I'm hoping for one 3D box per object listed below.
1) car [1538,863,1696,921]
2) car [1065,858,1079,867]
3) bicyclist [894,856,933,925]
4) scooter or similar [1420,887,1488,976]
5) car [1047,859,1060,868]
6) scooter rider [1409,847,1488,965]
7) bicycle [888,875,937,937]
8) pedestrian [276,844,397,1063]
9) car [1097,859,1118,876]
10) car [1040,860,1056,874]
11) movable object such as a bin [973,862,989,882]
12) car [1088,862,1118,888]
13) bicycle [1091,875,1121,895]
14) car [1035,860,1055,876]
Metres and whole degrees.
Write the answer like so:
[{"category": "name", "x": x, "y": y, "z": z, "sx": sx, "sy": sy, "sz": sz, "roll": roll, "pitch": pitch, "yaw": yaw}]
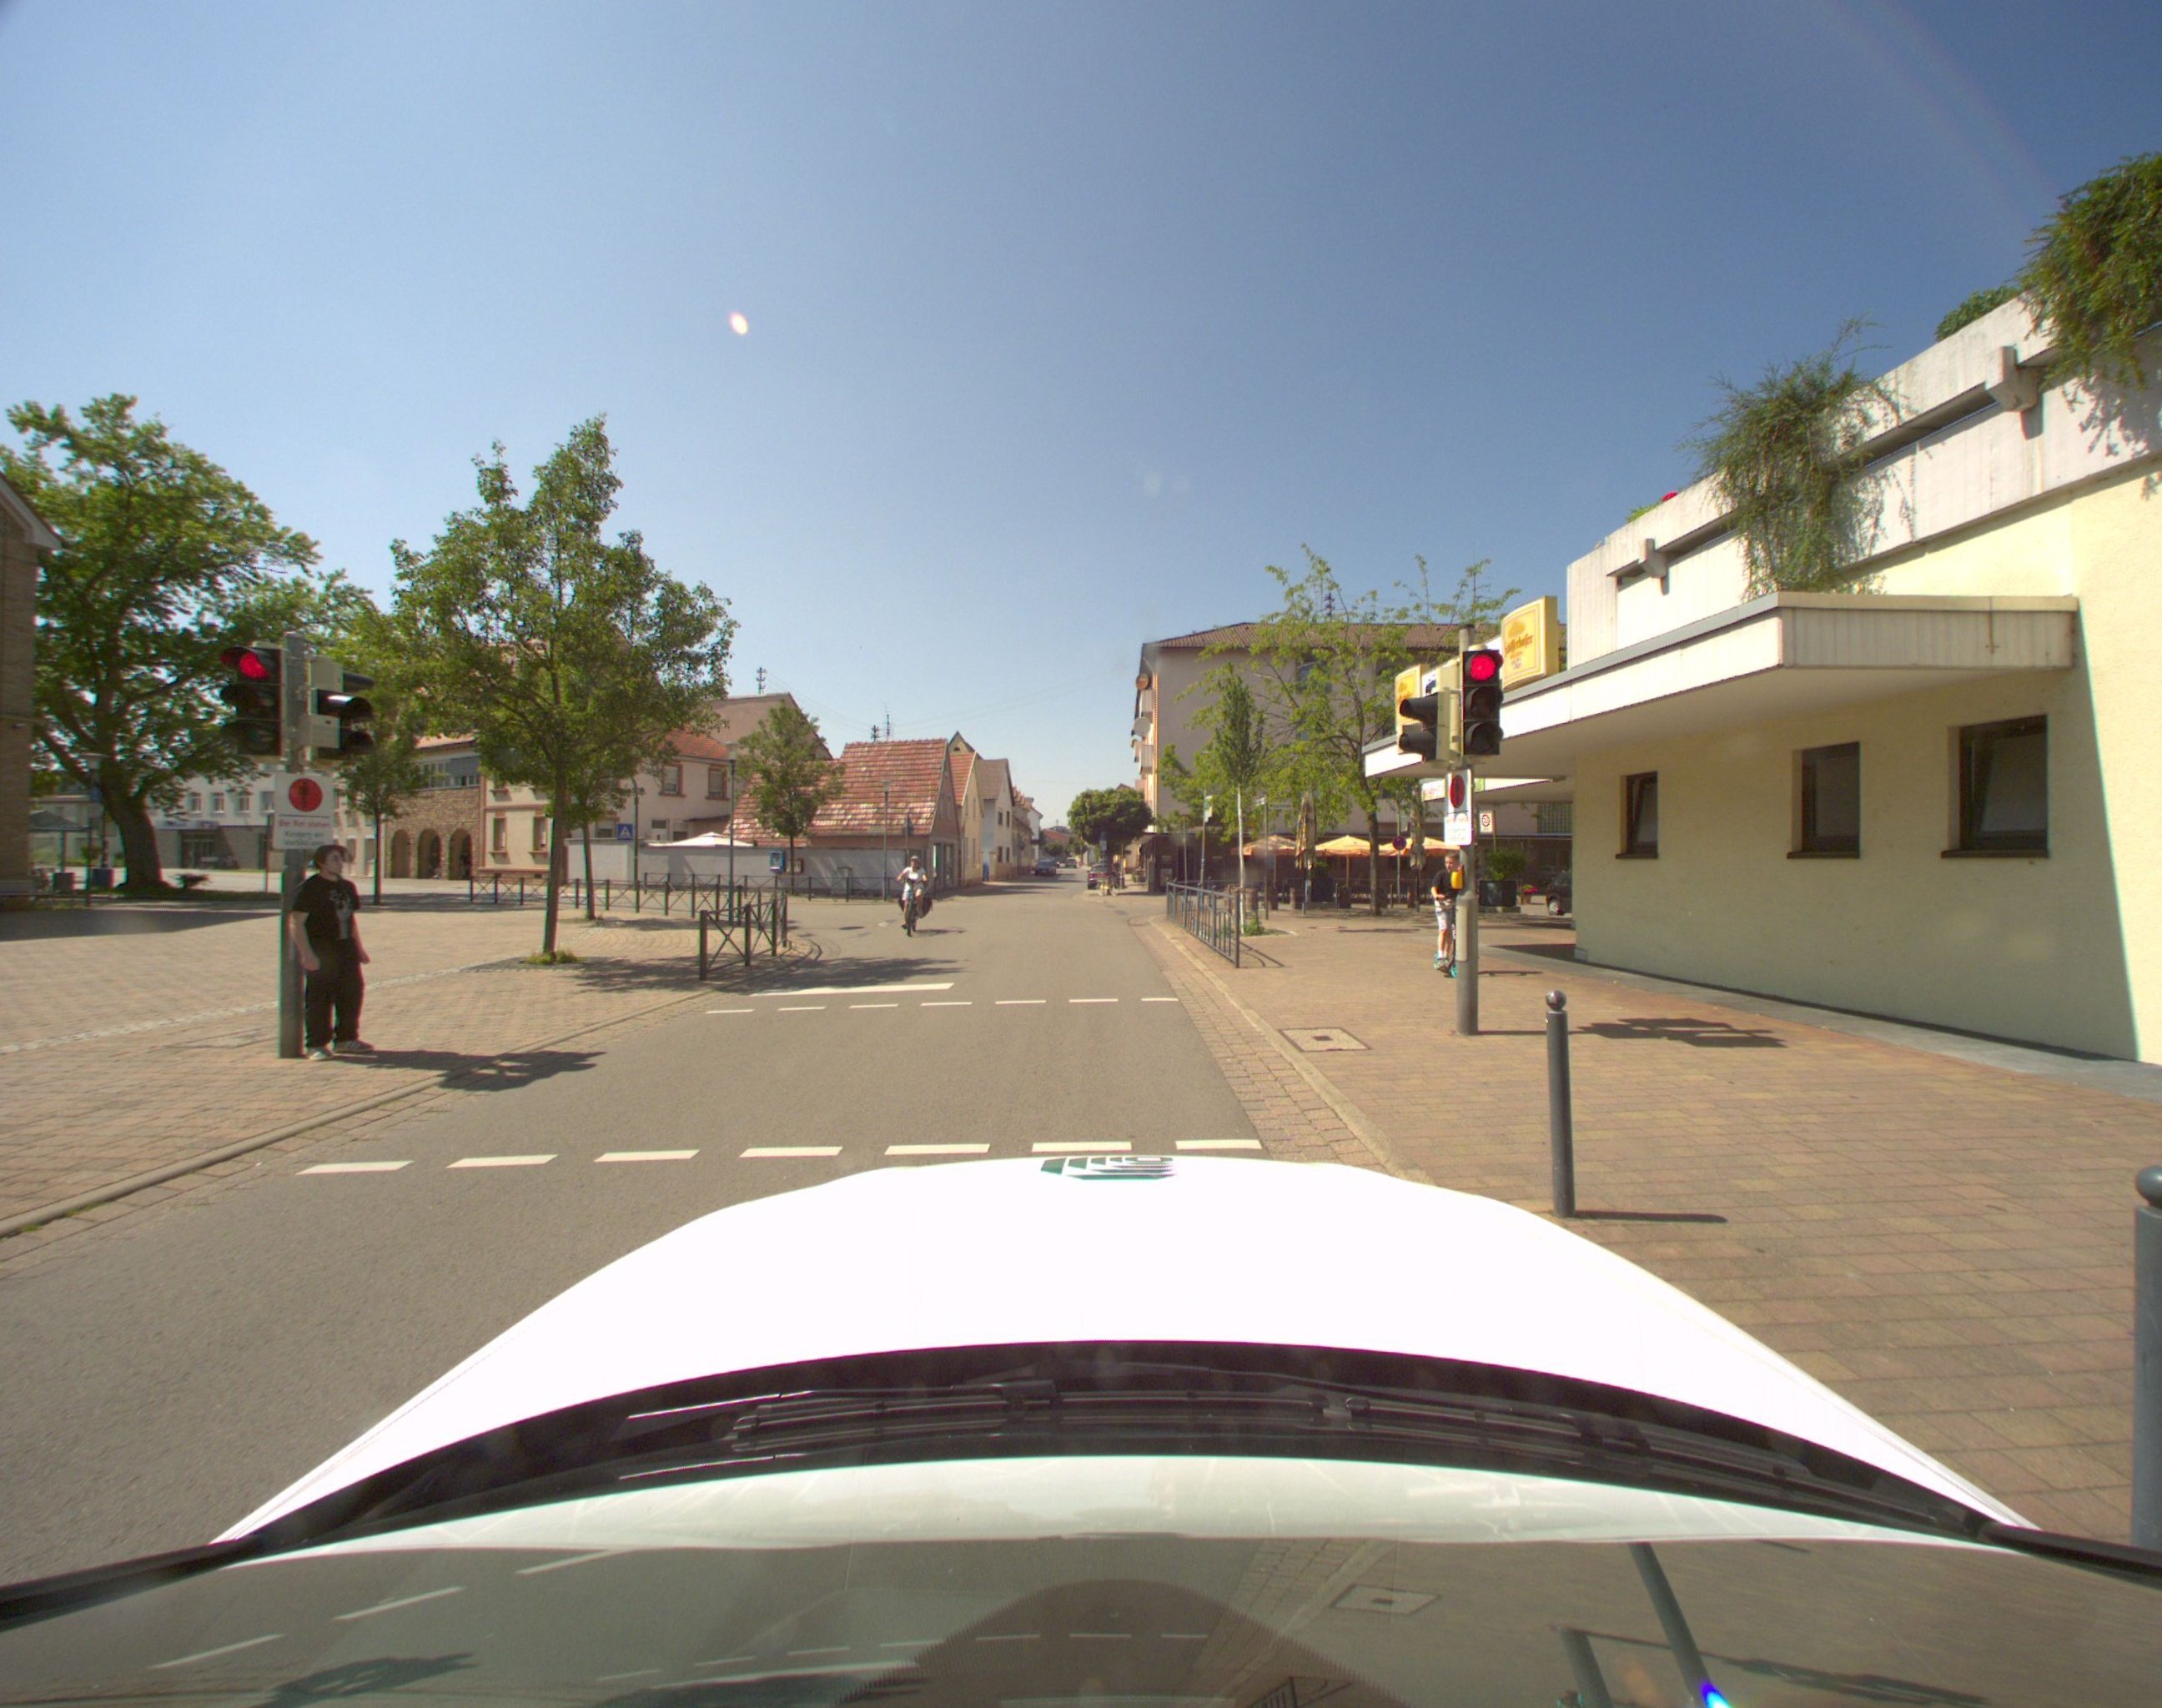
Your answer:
[{"category": "car", "x": 15.249, "y": 1.053, "z": 23.454, "sx": 1.763, "sy": 1.510, "sz": 3.965, "roll": 1, "pitch": -1, "yaw": -4}, {"category": "car", "x": -1.552, "y": 1.424, "z": 137.338, "sx": 2.023, "sy": 1.598, "sz": 4.502, "roll": 0, "pitch": -1, "yaw": -4}, {"category": "bicyclist", "x": -3.753, "y": 0.805, "z": 18.300, "sx": 0.712, "sy": 1.506, "sz": 0.870, "roll": 0, "pitch": -1, "yaw": -2}, {"category": "scooter or similar", "x": 4.396, "y": 0.892, "z": 9.641, "sx": 0.409, "sy": 0.965, "sz": 0.961, "roll": 0, "pitch": -1, "yaw": 3}, {"category": "car", "x": -4.701, "y": 1.595, "z": 138.776, "sx": 1.907, "sy": 1.481, "sz": 4.831, "roll": 0, "pitch": -1, "yaw": -7}, {"category": "scooter rider", "x": 4.386, "y": 0.592, "z": 9.784, "sx": 0.460, "sy": 1.325, "sz": 1.134, "roll": 0, "pitch": -1, "yaw": 2}, {"category": "bicycle", "x": -3.765, "y": 1.138, "z": 18.390, "sx": 0.706, "sy": 1.252, "sz": 1.971, "roll": -2, "pitch": -1, "yaw": -2}, {"category": "pedestrian", "x": -5.855, "y": 0.741, "z": 6.413, "sx": 0.543, "sy": 1.619, "sz": 0.561, "roll": -1, "pitch": -2, "yaw": 35}, {"category": "car", "x": 2.669, "y": 1.326, "z": 81.160, "sx": 2.035, "sy": 1.689, "sz": 4.843, "roll": 0, "pitch": -1, "yaw": 2}, {"category": "car", "x": -3.450, "y": 1.330, "z": 84.998, "sx": 1.659, "sy": 1.476, "sz": 3.448, "roll": 0, "pitch": -1, "yaw": -2}, {"category": "movable object such as a bin", "x": -7.009, "y": 1.261, "z": 57.090, "sx": 1.096, "sy": 1.366, "sz": 0.390, "roll": 0, "pitch": -1, "yaw": 5}, {"category": "car", "x": 1.305, "y": 1.192, "z": 47.301, "sx": 1.569, "sy": 1.454, "sz": 3.489, "roll": 0, "pitch": -1, "yaw": 4}, {"category": "bicycle", "x": 1.195, "y": 1.478, "z": 38.673, "sx": 1.396, "sy": 0.897, "sz": 0.468, "roll": -2, "pitch": 0, "yaw": 38}, {"category": "car", "x": -3.432, "y": 1.308, "z": 78.439, "sx": 1.657, "sy": 1.476, "sz": 4.135, "roll": 0, "pitch": -1, "yaw": 1}]
